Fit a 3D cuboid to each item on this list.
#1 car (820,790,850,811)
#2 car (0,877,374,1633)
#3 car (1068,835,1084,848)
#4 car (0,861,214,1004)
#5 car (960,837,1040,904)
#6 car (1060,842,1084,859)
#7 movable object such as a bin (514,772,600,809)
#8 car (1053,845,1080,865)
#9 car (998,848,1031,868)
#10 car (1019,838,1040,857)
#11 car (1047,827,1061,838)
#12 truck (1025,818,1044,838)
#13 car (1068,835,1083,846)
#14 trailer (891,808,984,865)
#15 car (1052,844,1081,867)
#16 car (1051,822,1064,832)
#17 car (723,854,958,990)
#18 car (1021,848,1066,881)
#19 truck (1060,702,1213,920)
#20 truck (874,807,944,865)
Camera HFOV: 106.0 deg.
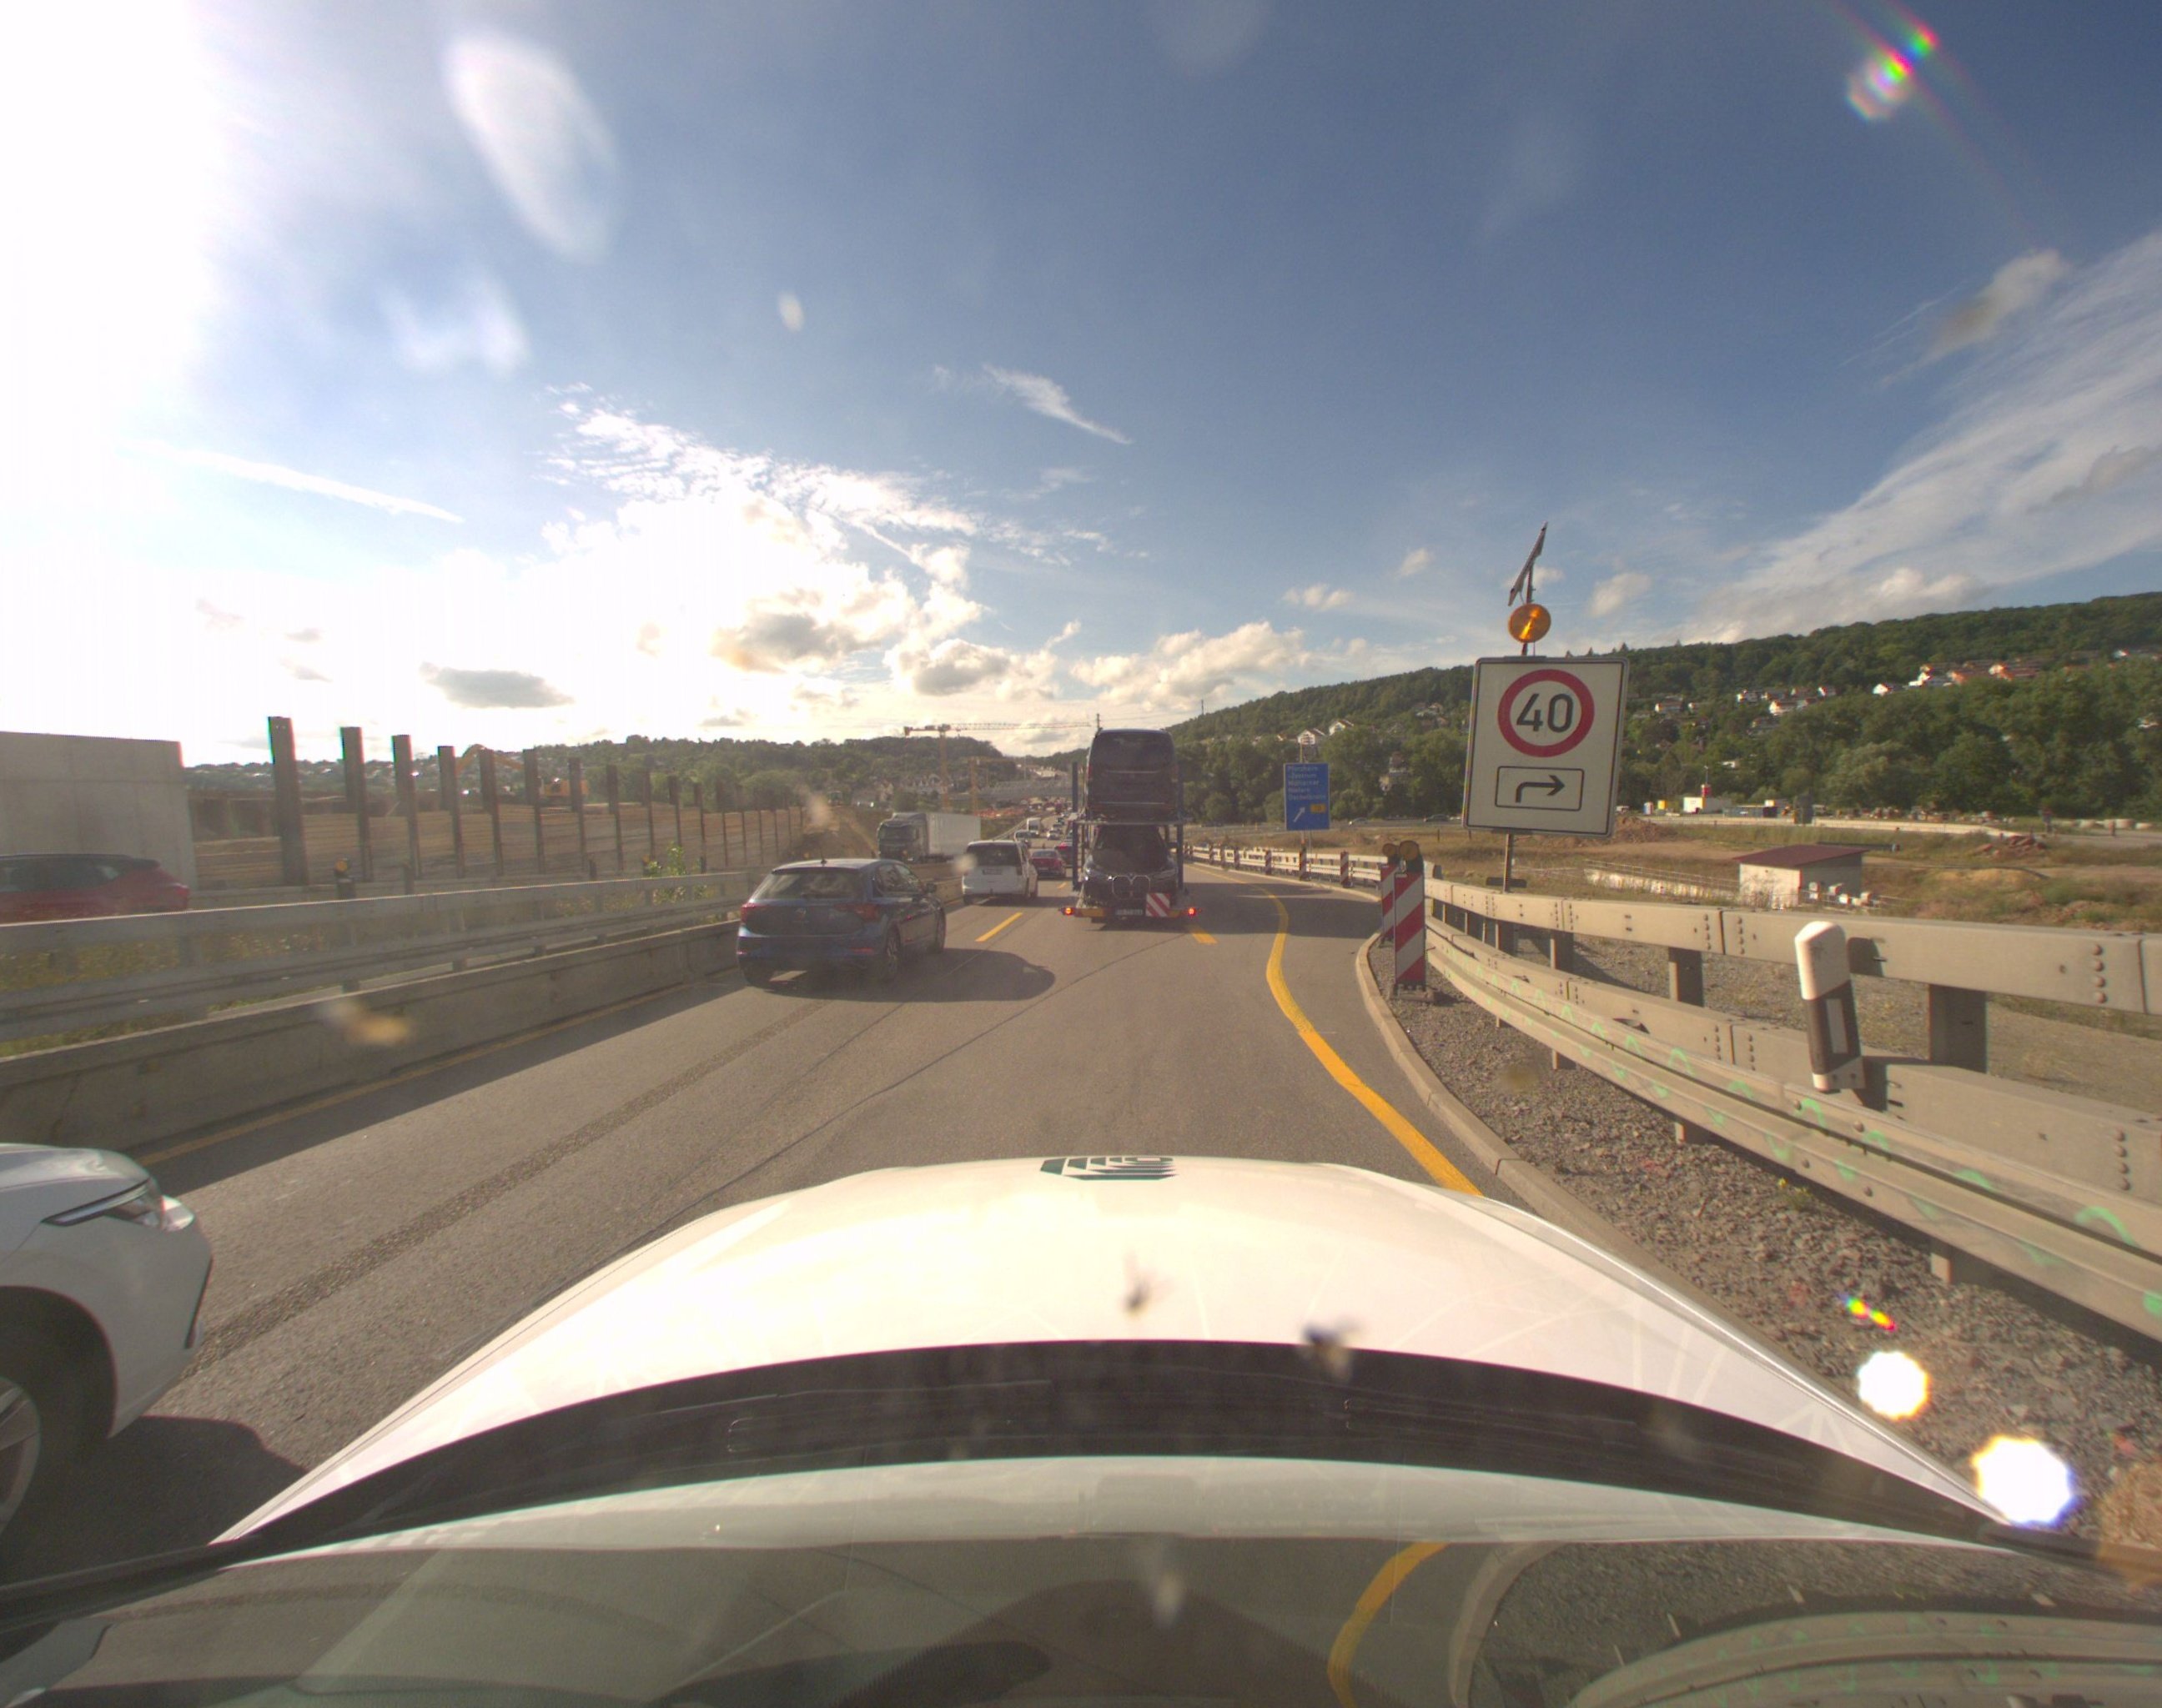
[{"bbox_3d":[-31.830,-6.909,105.606,1.987,2.140,5.321,-6,0,0],"label":"car"},{"bbox_3d":[-3.090,0.823,0.216,1.764,1.491,4.517,-2,-1,1],"label":"car"},{"bbox_3d":[-0.661,-1.650,107.671,1.986,1.552,4.002,0,0,2],"label":"car"},{"bbox_3d":[-14.420,0.993,10.386,1.915,1.767,4.331,0,0,4],"label":"car"},{"bbox_3d":[-2.291,0.450,24.051,1.816,1.792,4.002,0,0,2],"label":"car"},{"bbox_3d":[-0.807,-0.296,73.683,1.986,1.552,4.002,0,0,2],"label":"car"},{"bbox_3d":[-53.014,-6.391,82.516,5.707,3.270,4.526,-1,0,12],"label":"movable object such as a bin"},{"bbox_3d":[-1.120,0.098,65.555,1.986,1.552,4.002,0,0,2],"label":"car"},{"bbox_3d":[-5.777,0.362,71.468,1.982,1.726,4.133,0,0,9],"label":"car"},{"bbox_3d":[-6.843,-0.852,108.405,2.250,2.402,5.869,0,0,1],"label":"car"},{"bbox_3d":[-4.380,-3.488,133.009,2.118,1.673,4.276,0,3,2],"label":"car"},{"bbox_3d":[-8.101,-4.460,141.286,2.691,3.311,7.538,0,0,1],"label":"truck"},{"bbox_3d":[-0.795,-2.020,120.686,1.986,1.552,4.002,0,0,2],"label":"car"},{"bbox_3d":[-10.669,-1.168,62.548,2.805,3.841,13.835,0,0,8],"label":"trailer"},{"bbox_3d":[-1.007,0.095,57.214,1.988,1.552,3.998,0,0,-1],"label":"car"},{"bbox_3d":[-4.417,-5.022,151.206,2.118,1.765,5.035,0,3,2],"label":"car"},{"bbox_3d":[-2.885,0.735,10.742,1.715,1.422,4.003,-1,0,3],"label":"car"},{"bbox_3d":[-1.797,0.506,40.535,1.987,1.556,4.401,0,0,1],"label":"car"},{"bbox_3d":[1.284,-0.749,24.294,2.743,3.954,18.895,1,0,2],"label":"truck"},{"bbox_3d":[-11.653,-1.153,55.760,2.761,3.788,6.031,0,0,8],"label":"truck"}]
